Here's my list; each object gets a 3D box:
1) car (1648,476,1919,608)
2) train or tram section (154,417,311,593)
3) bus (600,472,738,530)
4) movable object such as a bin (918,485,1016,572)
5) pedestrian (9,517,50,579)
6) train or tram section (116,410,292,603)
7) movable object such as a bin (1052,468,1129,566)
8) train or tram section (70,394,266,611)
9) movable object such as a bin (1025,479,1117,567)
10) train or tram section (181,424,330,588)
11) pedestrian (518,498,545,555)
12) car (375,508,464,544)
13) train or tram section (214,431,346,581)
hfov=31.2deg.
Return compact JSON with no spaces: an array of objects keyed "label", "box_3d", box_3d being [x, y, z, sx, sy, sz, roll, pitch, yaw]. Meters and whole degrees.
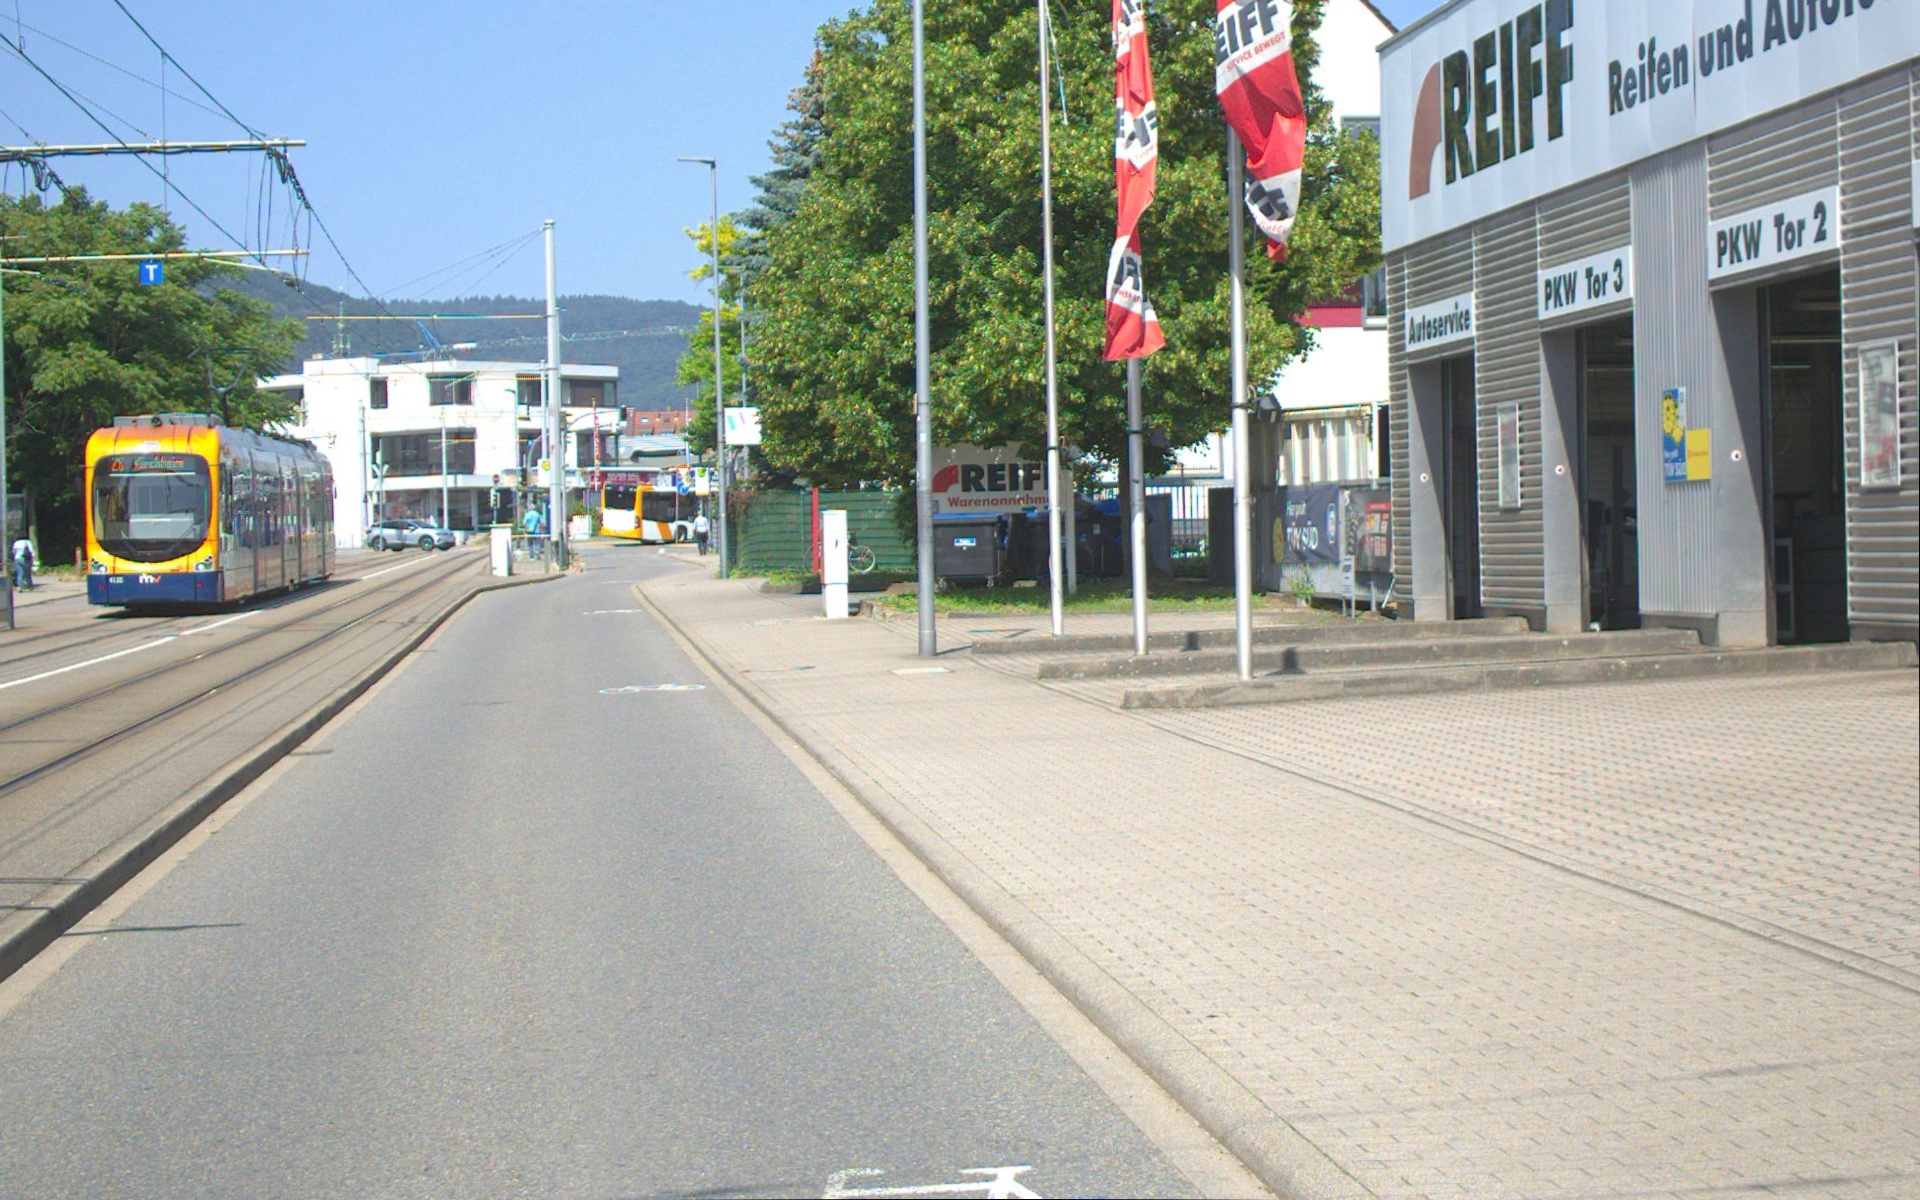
[{"label":"car","box_3d":[9.810,-0.681,38.418,3.760,1.371,1.726,-2,2,-11]},{"label":"train or tram section","box_3d":[-15.001,-1.954,71.183,2.610,3.435,5.012,-2,2,-7]},{"label":"bus","box_3d":[-14.939,-5.120,177.366,2.440,2.870,8.778,0,2,30]},{"label":"movable object such as a bin","box_3d":[0.121,-1.200,58.088,1.385,1.425,0.990,-1,0,19]},{"label":"pedestrian","box_3d":[-23.820,-1.333,88.034,0.834,1.532,0.838,-2,2,-6]},{"label":"train or tram section","box_3d":[-14.389,-1.787,65.817,2.610,3.435,5.845,-2,2,-7]},{"label":"movable object such as a bin","box_3d":[2.115,-1.335,55.904,0.978,1.541,1.321,-1,0,-10]},{"label":"train or tram section","box_3d":[-13.741,-1.697,60.032,2.610,3.520,5.744,-2,2,-7]},{"label":"movable object such as a bin","box_3d":[1.860,-1.281,57.700,1.318,1.425,0.884,-1,0,19]},{"label":"train or tram section","box_3d":[-15.744,-2.109,77.224,2.579,3.435,7.139,-2,2,-7]},{"label":"pedestrian","box_3d":[-13.316,-2.282,106.833,0.743,1.734,0.727,-2,2,-6]},{"label":"car","box_3d":[-26.943,-3.688,171.253,3.991,1.744,1.774,-1,2,22]},{"label":"train or tram section","box_3d":[-16.539,-2.296,83.952,2.579,3.435,6.364,-2,2,-7]}]
